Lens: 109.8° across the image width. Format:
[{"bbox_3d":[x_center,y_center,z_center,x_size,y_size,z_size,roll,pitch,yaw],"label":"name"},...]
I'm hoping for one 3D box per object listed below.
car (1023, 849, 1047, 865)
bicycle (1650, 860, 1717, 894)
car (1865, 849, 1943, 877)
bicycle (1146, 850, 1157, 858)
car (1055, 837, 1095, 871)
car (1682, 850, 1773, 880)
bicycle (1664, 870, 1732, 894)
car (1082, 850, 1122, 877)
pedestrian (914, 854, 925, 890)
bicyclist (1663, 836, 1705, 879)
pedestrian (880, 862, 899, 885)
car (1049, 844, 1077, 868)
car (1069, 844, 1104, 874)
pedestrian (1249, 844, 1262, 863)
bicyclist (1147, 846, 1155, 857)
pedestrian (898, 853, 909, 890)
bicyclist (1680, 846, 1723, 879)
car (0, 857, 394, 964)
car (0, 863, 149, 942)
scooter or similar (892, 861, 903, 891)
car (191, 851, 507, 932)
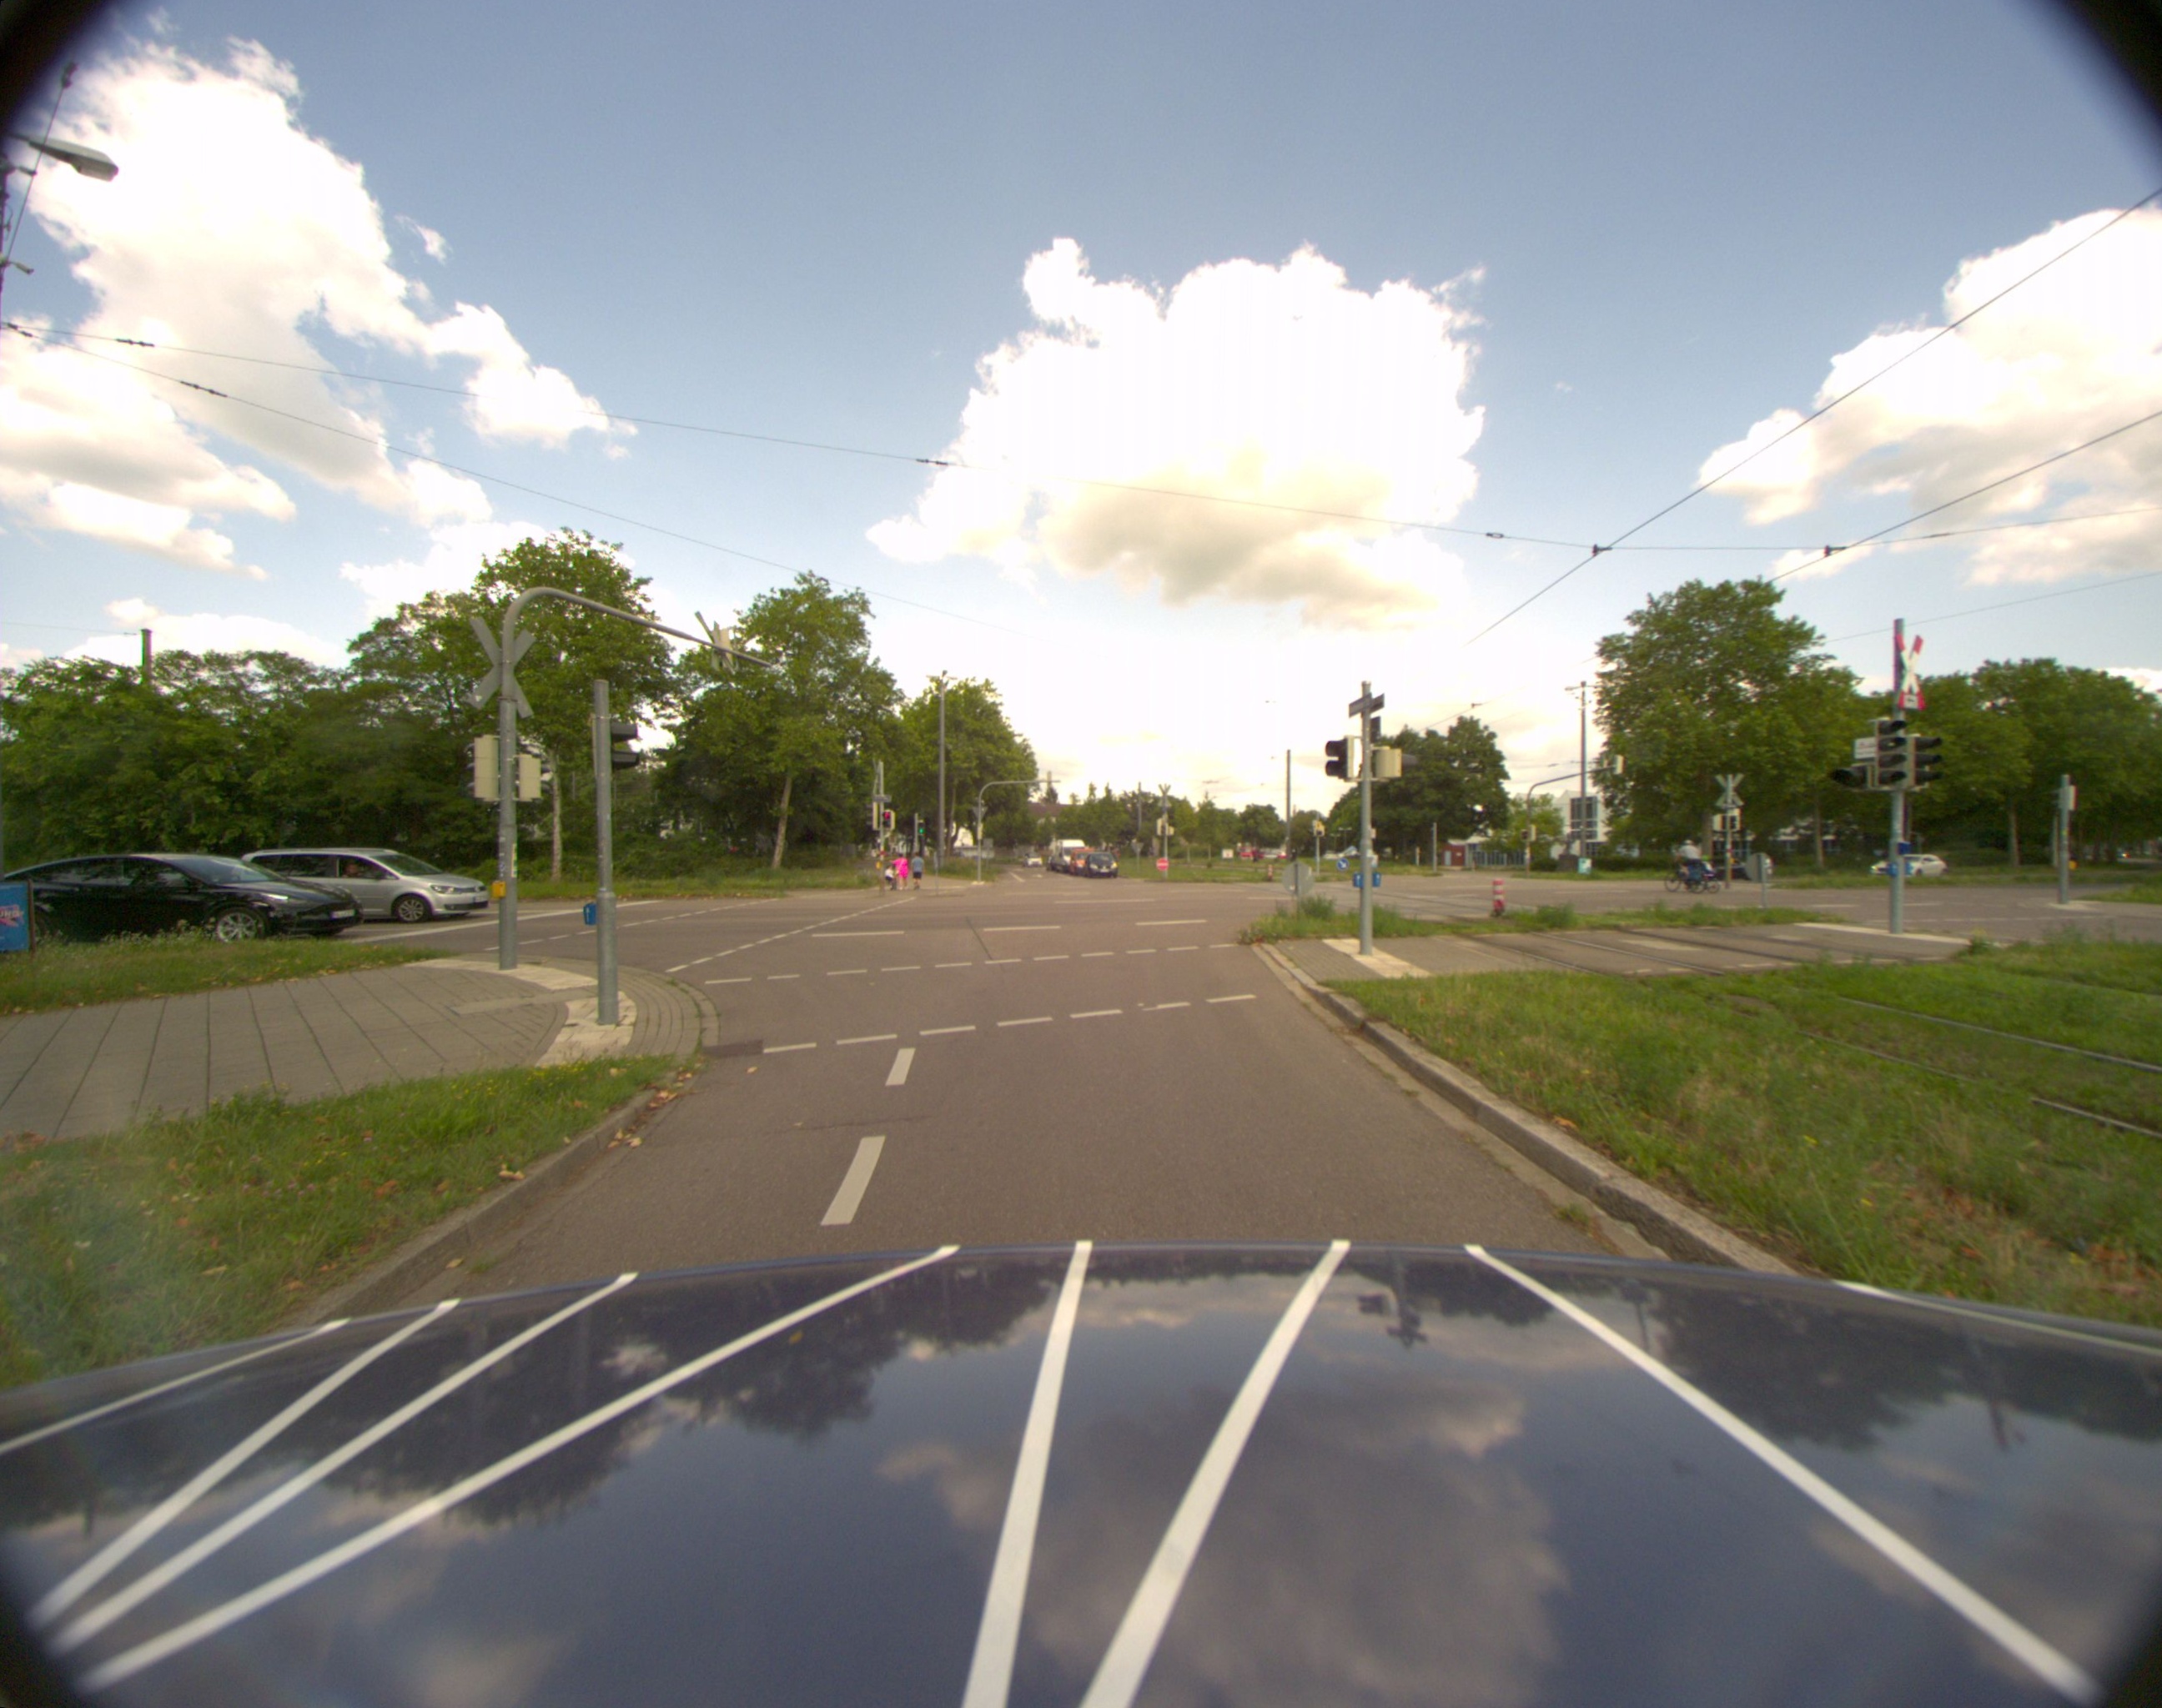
[{"bbox_3d":[-4.849,0.304,80.134,1.869,1.635,4.229,-1,1,-12],"label":"car"},{"bbox_3d":[20.492,0.749,25.886,0.648,1.073,1.803,0,1,-10],"label":"bicycle"},{"bbox_3d":[46.215,0.487,42.677,3.915,1.515,1.696,-1,1,-22],"label":"car"},{"bbox_3d":[9.729,0.027,104.330,0.805,1.053,2.067,-1,-1,-15],"label":"bicycle"},{"bbox_3d":[-0.557,0.000,59.308,2.240,2.492,5.720,-1,1,-9],"label":"car"},{"bbox_3d":[35.056,0.568,41.214,3.857,1.515,1.697,0,1,-10],"label":"car"},{"bbox_3d":[21.183,0.950,26.130,0.648,0.713,1.803,0,1,-11],"label":"bicycle"},{"bbox_3d":[1.246,0.549,46.809,1.796,1.530,3.997,-1,1,-8],"label":"car"},{"bbox_3d":[-6.700,0.745,31.587,0.419,1.499,0.451,-1,1,-11],"label":"pedestrian"},{"bbox_3d":[20.496,0.118,25.850,0.625,1.449,0.927,0,1,-10],"label":"bicyclist"},{"bbox_3d":[-8.744,0.893,34.687,0.723,1.028,0.901,0,1,-9],"label":"pedestrian"},{"bbox_3d":[-1.537,0.153,64.957,1.796,1.924,4.364,-1,1,-9],"label":"car"},{"bbox_3d":[0.326,0.303,52.831,1.796,1.924,4.365,-1,1,-8],"label":"car"},{"bbox_3d":[17.306,-0.023,75.336,0.908,1.857,1.001,-1,1,-12],"label":"pedestrian"},{"bbox_3d":[9.668,-0.397,104.493,0.805,1.461,0.831,-1,-1,-15],"label":"bicyclist"},{"bbox_3d":[-7.367,0.722,31.614,0.419,1.499,0.392,-1,1,-11],"label":"pedestrian"},{"bbox_3d":[21.200,0.280,25.979,0.641,1.106,0.927,0,1,-11],"label":"bicyclist"},{"bbox_3d":[-15.355,0.892,13.208,4.687,1.601,1.998,0,2,-9],"label":"car"},{"bbox_3d":[-22.727,0.959,15.331,4.750,1.461,1.998,0,2,-10],"label":"car"},{"bbox_3d":[-7.481,0.893,30.952,0.395,1.154,1.115,0,1,-13],"label":"scooter or similar"},{"bbox_3d":[-15.961,0.760,16.864,4.687,1.601,1.998,0,2,-10],"label":"car"}]
